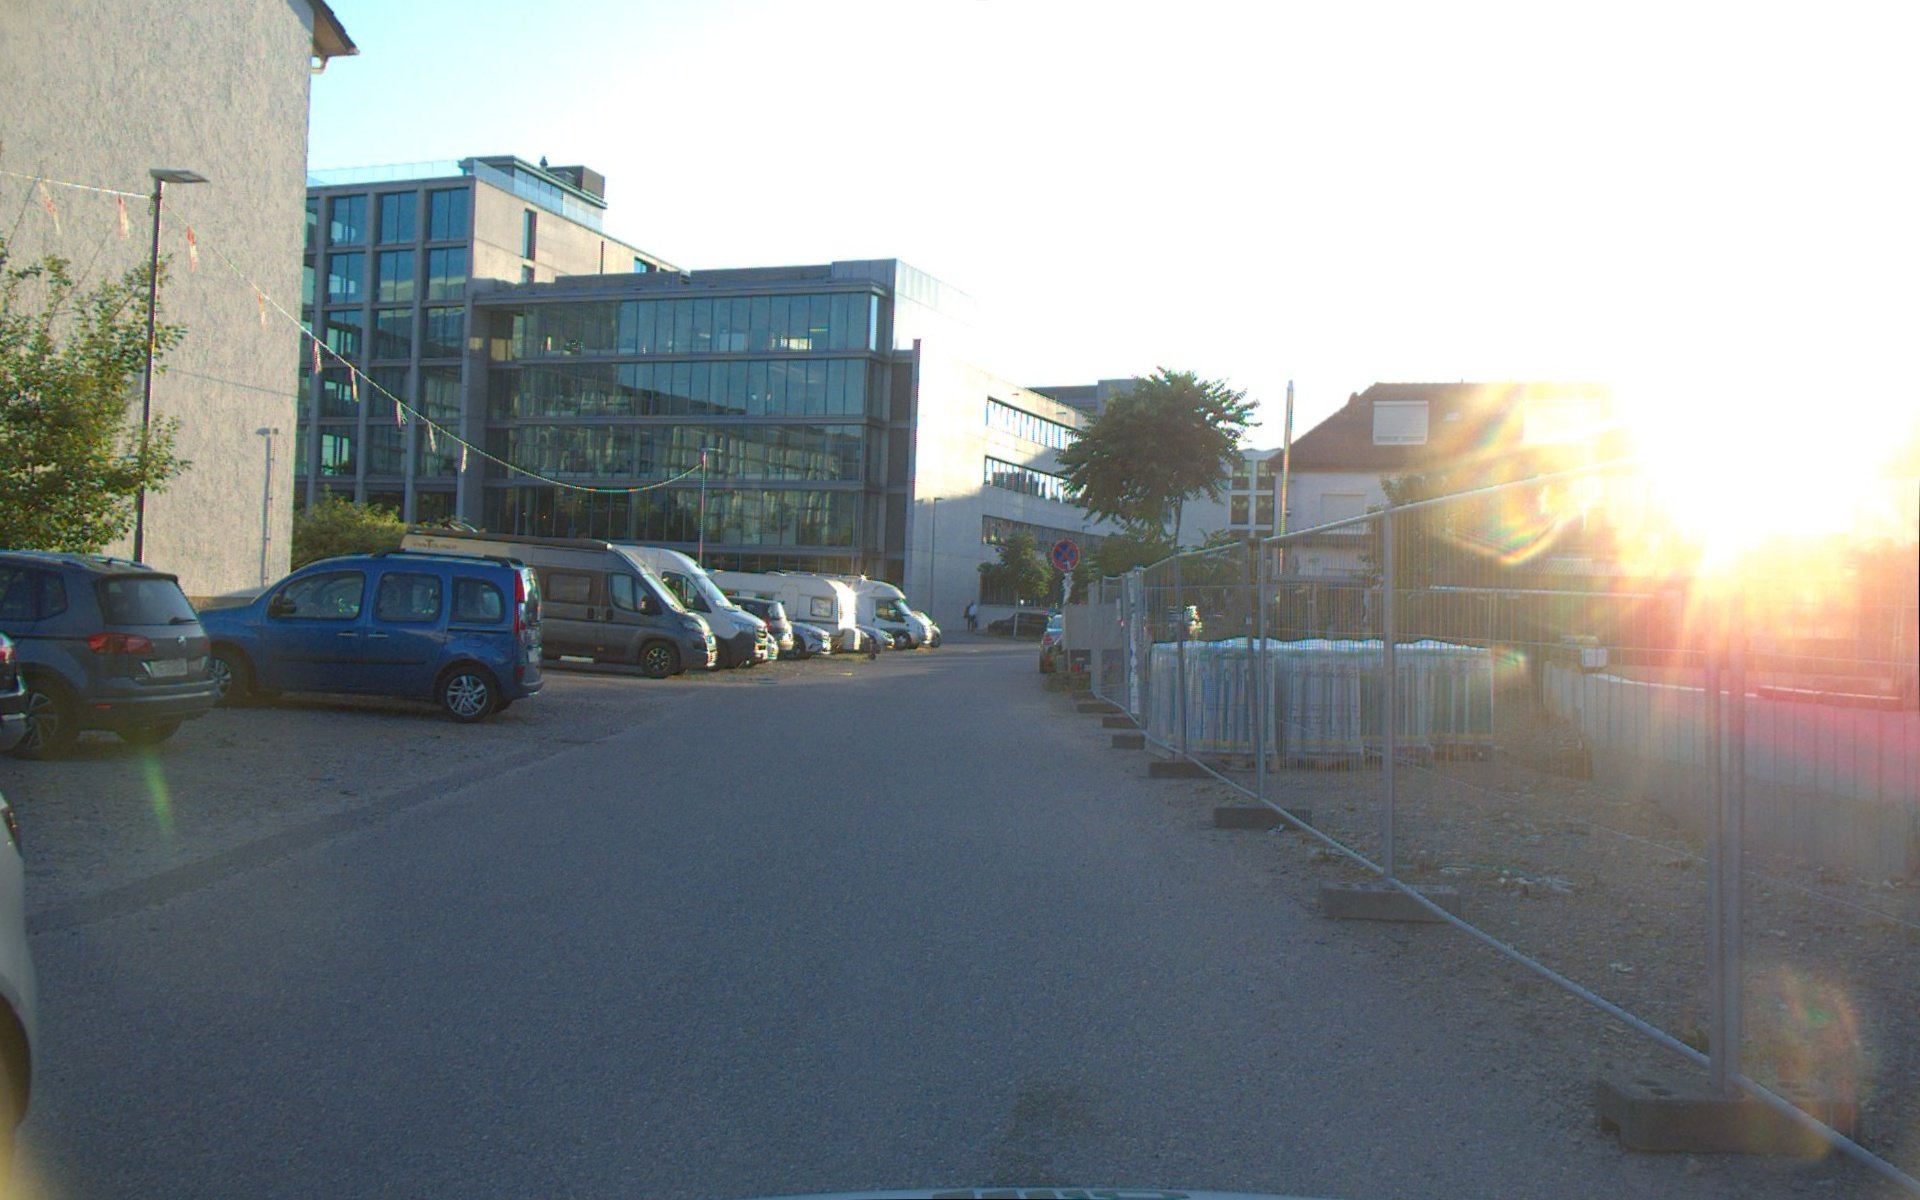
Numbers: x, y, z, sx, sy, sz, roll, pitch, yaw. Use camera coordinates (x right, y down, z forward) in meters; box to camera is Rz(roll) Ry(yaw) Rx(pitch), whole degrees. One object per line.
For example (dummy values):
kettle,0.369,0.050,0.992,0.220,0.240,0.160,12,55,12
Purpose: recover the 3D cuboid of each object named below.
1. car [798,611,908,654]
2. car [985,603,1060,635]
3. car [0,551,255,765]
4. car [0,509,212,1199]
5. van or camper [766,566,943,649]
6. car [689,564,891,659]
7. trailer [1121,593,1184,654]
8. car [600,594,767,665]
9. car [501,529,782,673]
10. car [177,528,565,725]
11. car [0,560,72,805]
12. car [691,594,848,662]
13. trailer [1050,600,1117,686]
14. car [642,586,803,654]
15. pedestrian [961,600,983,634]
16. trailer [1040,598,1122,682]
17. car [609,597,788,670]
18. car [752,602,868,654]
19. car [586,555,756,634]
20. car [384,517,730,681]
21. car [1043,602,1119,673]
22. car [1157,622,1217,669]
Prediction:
car,-3.935,1.176,60.982,3.727,1.351,1.694,3,0,8
car,3.388,1.030,89.628,3.656,1.507,1.771,3,1,16
car,-8.186,0.389,13.873,3.842,1.608,1.644,2,0,9
car,-2.754,0.603,2.159,1.637,1.648,4.284,2,0,-2
van or camper,-4.198,0.286,66.346,6.597,2.948,2.411,3,0,11
car,-5.348,0.370,52.517,5.763,2.578,2.413,4,-1,11
trailer,7.555,0.879,64.549,2.020,2.250,5.227,1,0,11
car,-7.086,0.773,42.624,3.843,1.618,1.749,3,-2,5
car,-7.103,0.019,37.267,5.705,2.760,2.051,4,0,3
car,-6.718,0.297,19.239,3.852,1.944,1.745,4,0,-8
car,-7.984,0.443,10.508,3.842,1.543,1.644,2,-1,9
car,-5.462,0.796,47.558,4.039,1.618,1.749,4,0,13
trailer,2.517,0.855,34.075,1.224,1.694,2.803,0,0,1
car,-6.386,0.521,44.615,3.842,1.618,1.749,3,0,13
pedestrian,0.667,0.936,90.940,0.892,1.882,0.845,1,0,-37
trailer,2.830,0.868,37.836,1.694,1.809,4.940,0,0,6
car,-6.228,0.793,39.612,3.843,1.533,1.791,3,-1,6
car,-5.059,0.943,56.002,3.552,1.545,1.707,3,0,6
car,-11.406,-0.219,65.294,6.111,2.719,2.224,3,0,15
car,-7.965,0.005,33.185,6.260,2.760,2.112,4,-1,-2
car,3.249,0.945,43.574,1.767,1.755,4.932,0,0,7
car,11.043,2.160,80.198,2.022,2.131,4.874,1,0,18
